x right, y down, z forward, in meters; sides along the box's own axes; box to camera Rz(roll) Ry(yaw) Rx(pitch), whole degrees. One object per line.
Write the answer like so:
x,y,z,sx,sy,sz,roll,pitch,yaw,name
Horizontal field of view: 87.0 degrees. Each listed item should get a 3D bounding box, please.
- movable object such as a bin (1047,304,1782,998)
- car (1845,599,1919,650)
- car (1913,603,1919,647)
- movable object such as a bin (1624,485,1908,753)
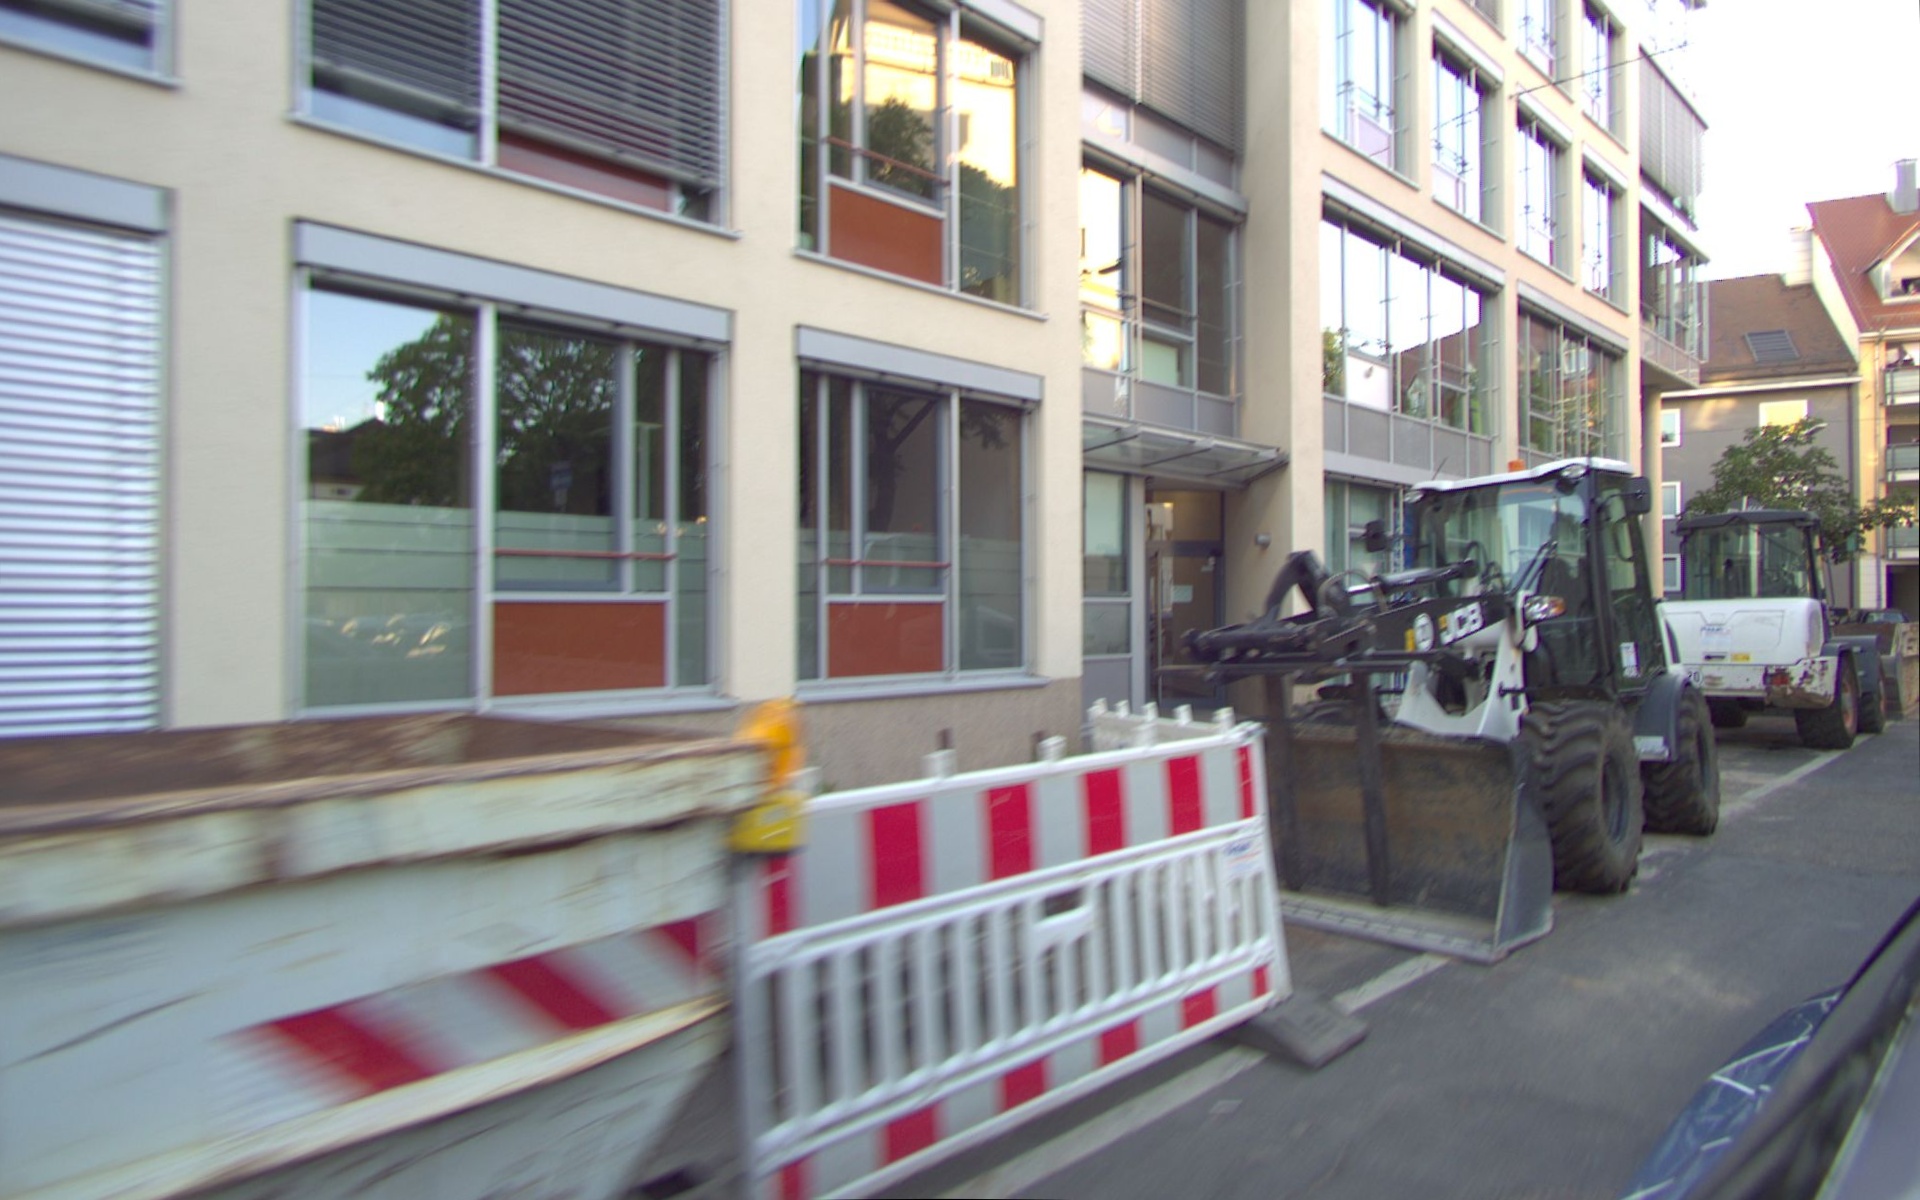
3.237,0.191,6.454,5.446,2.629,2.170,0,-1,-41,movable object such as a bin
31.604,0.807,34.225,1.729,1.545,3.330,0,1,28,car
33.761,0.858,33.573,1.853,1.527,4.255,0,-1,26,car
9.667,0.185,12.043,4.036,2.668,1.800,0,-1,-39,movable object such as a bin
